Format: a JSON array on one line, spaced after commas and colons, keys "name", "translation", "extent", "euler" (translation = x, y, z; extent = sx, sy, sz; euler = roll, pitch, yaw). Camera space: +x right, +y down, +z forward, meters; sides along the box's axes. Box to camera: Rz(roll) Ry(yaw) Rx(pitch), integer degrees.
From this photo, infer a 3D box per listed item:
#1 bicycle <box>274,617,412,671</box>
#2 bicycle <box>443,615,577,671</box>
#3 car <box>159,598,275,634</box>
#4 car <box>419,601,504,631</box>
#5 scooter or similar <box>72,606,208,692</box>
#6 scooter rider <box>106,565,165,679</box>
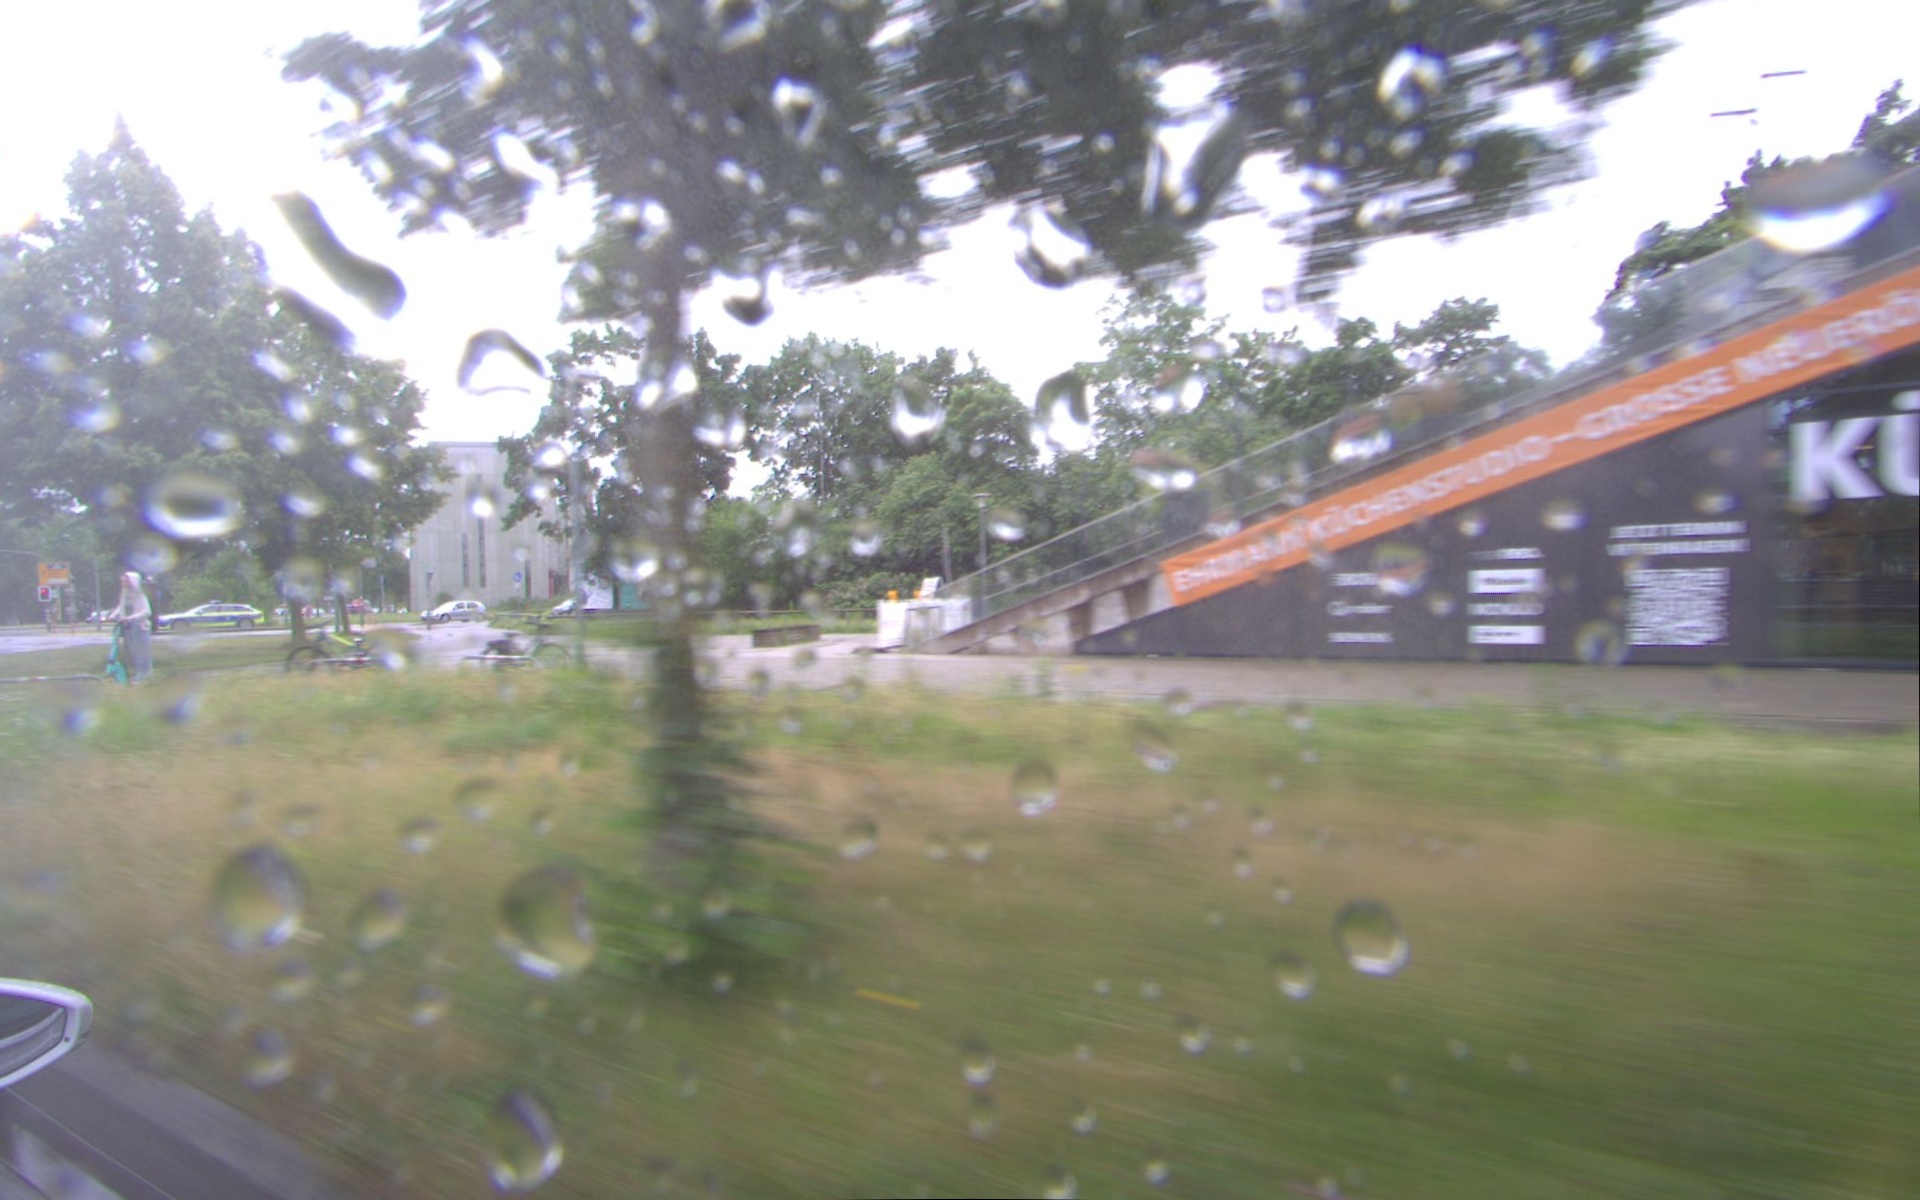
[{"name": "bicycle", "translation": [-9.318, 0.666, 15.143], "extent": [1.823, 0.797, 0.380], "euler": [0, -1, -2]}, {"name": "bicycle", "translation": [-6.653, 0.640, 14.813], "extent": [1.972, 0.797, 0.454], "euler": [-1, -2, 15]}, {"name": "car", "translation": [-40.334, 0.836, 54.473], "extent": [1.975, 1.876, 4.741], "euler": [0, 0, 38]}, {"name": "car", "translation": [-32.953, 1.072, 66.319], "extent": [1.973, 1.874, 4.750], "euler": [-1, -2, 34]}, {"name": "scooter or similar", "translation": [-12.793, 0.754, 15.672], "extent": [0.441, 1.275, 1.583], "euler": [-1, -2, 31]}, {"name": "scooter rider", "translation": [-12.847, 0.334, 15.604], "extent": [0.427, 1.732, 0.530], "euler": [0, 2, 26]}]
